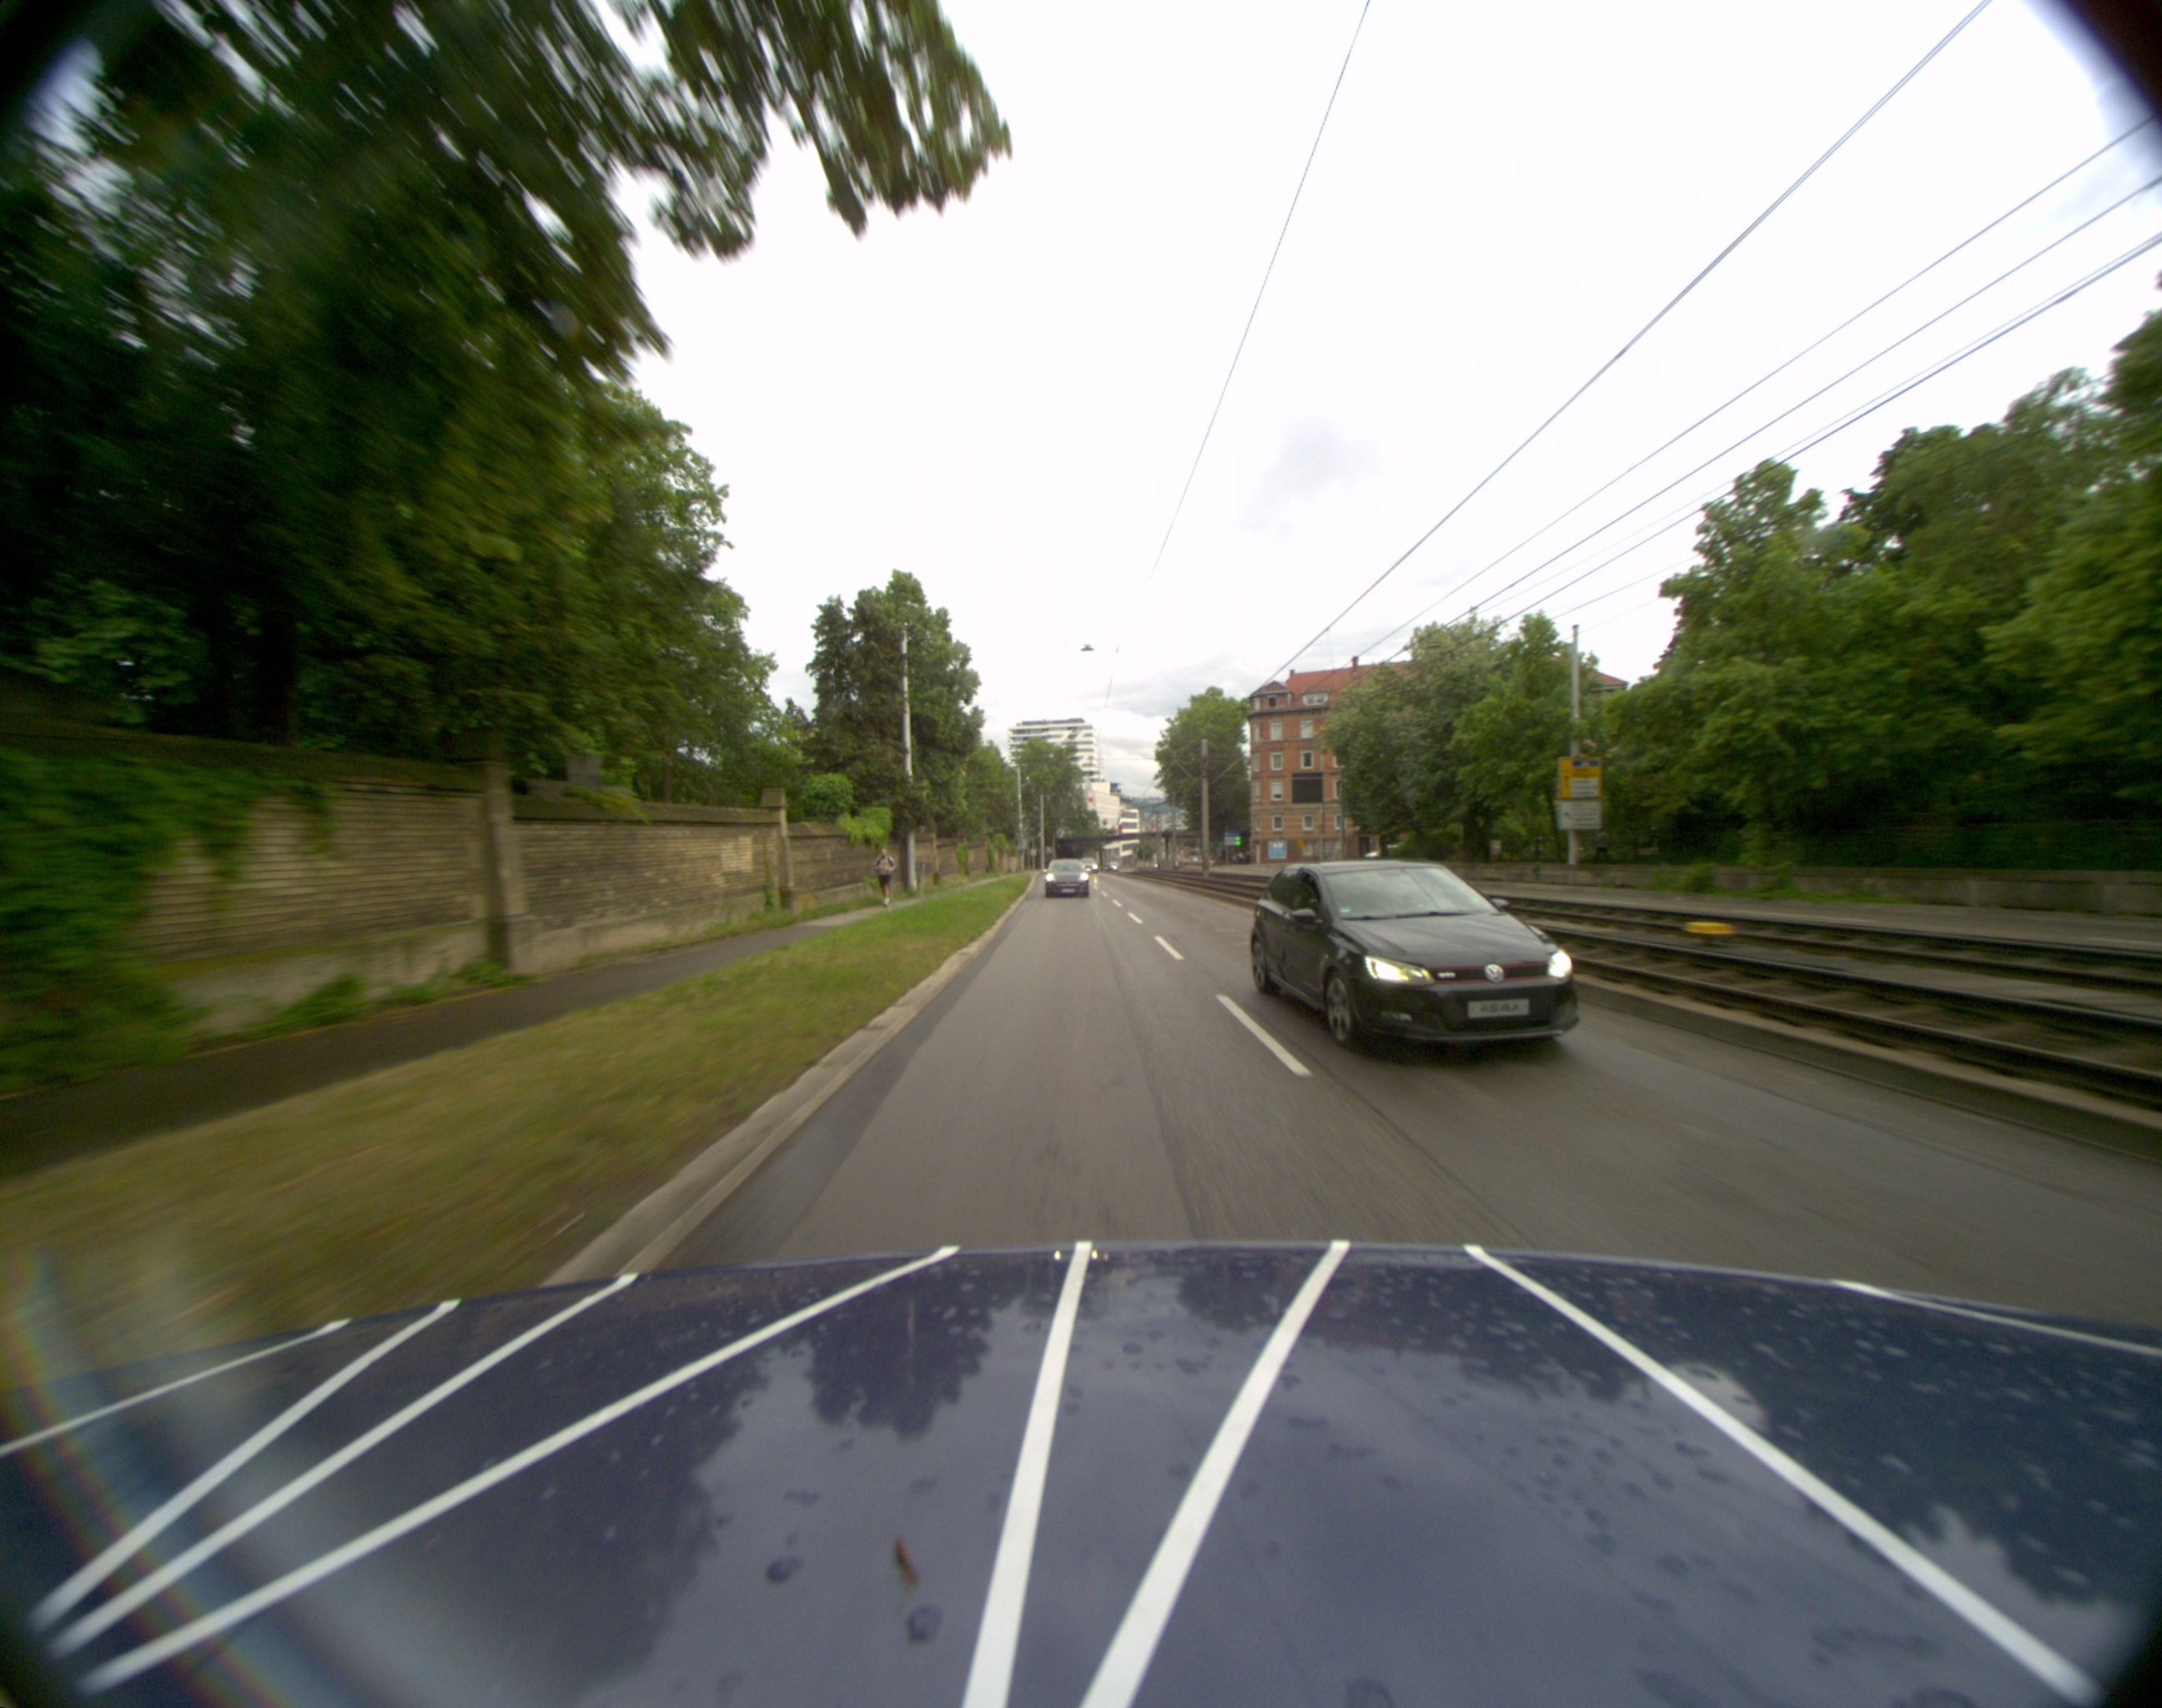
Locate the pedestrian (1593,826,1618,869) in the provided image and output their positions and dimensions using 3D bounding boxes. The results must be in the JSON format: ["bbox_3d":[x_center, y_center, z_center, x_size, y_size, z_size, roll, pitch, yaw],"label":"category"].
[{"bbox_3d":[23.646,-0.302,34.241,0.597,1.892,0.654,-3,1,-3],"label":"pedestrian"}]

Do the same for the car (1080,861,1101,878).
[{"bbox_3d":[0.867,1.374,68.930,1.806,1.483,4.102,-1,0,0],"label":"car"}]

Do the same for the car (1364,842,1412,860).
[{"bbox_3d":[30.726,-0.289,76.182,4.428,1.588,1.844,-2,0,20],"label":"car"}]

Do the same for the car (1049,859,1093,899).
[{"bbox_3d":[-0.444,0.954,30.907,1.658,1.483,3.828,-1,0,-2],"label":"car"}]

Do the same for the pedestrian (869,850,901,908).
[{"bbox_3d":[-6.107,0.764,23.718,0.710,1.769,0.900,-2,1,-2],"label":"pedestrian"}]

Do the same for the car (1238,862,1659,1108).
[{"bbox_3d":[2.727,0.844,6.761,1.798,1.477,3.964,-1,0,0],"label":"car"}]

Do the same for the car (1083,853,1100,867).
[{"bbox_3d":[1.114,0.694,84.579,1.806,1.483,4.102,-1,0,0],"label":"car"}]
